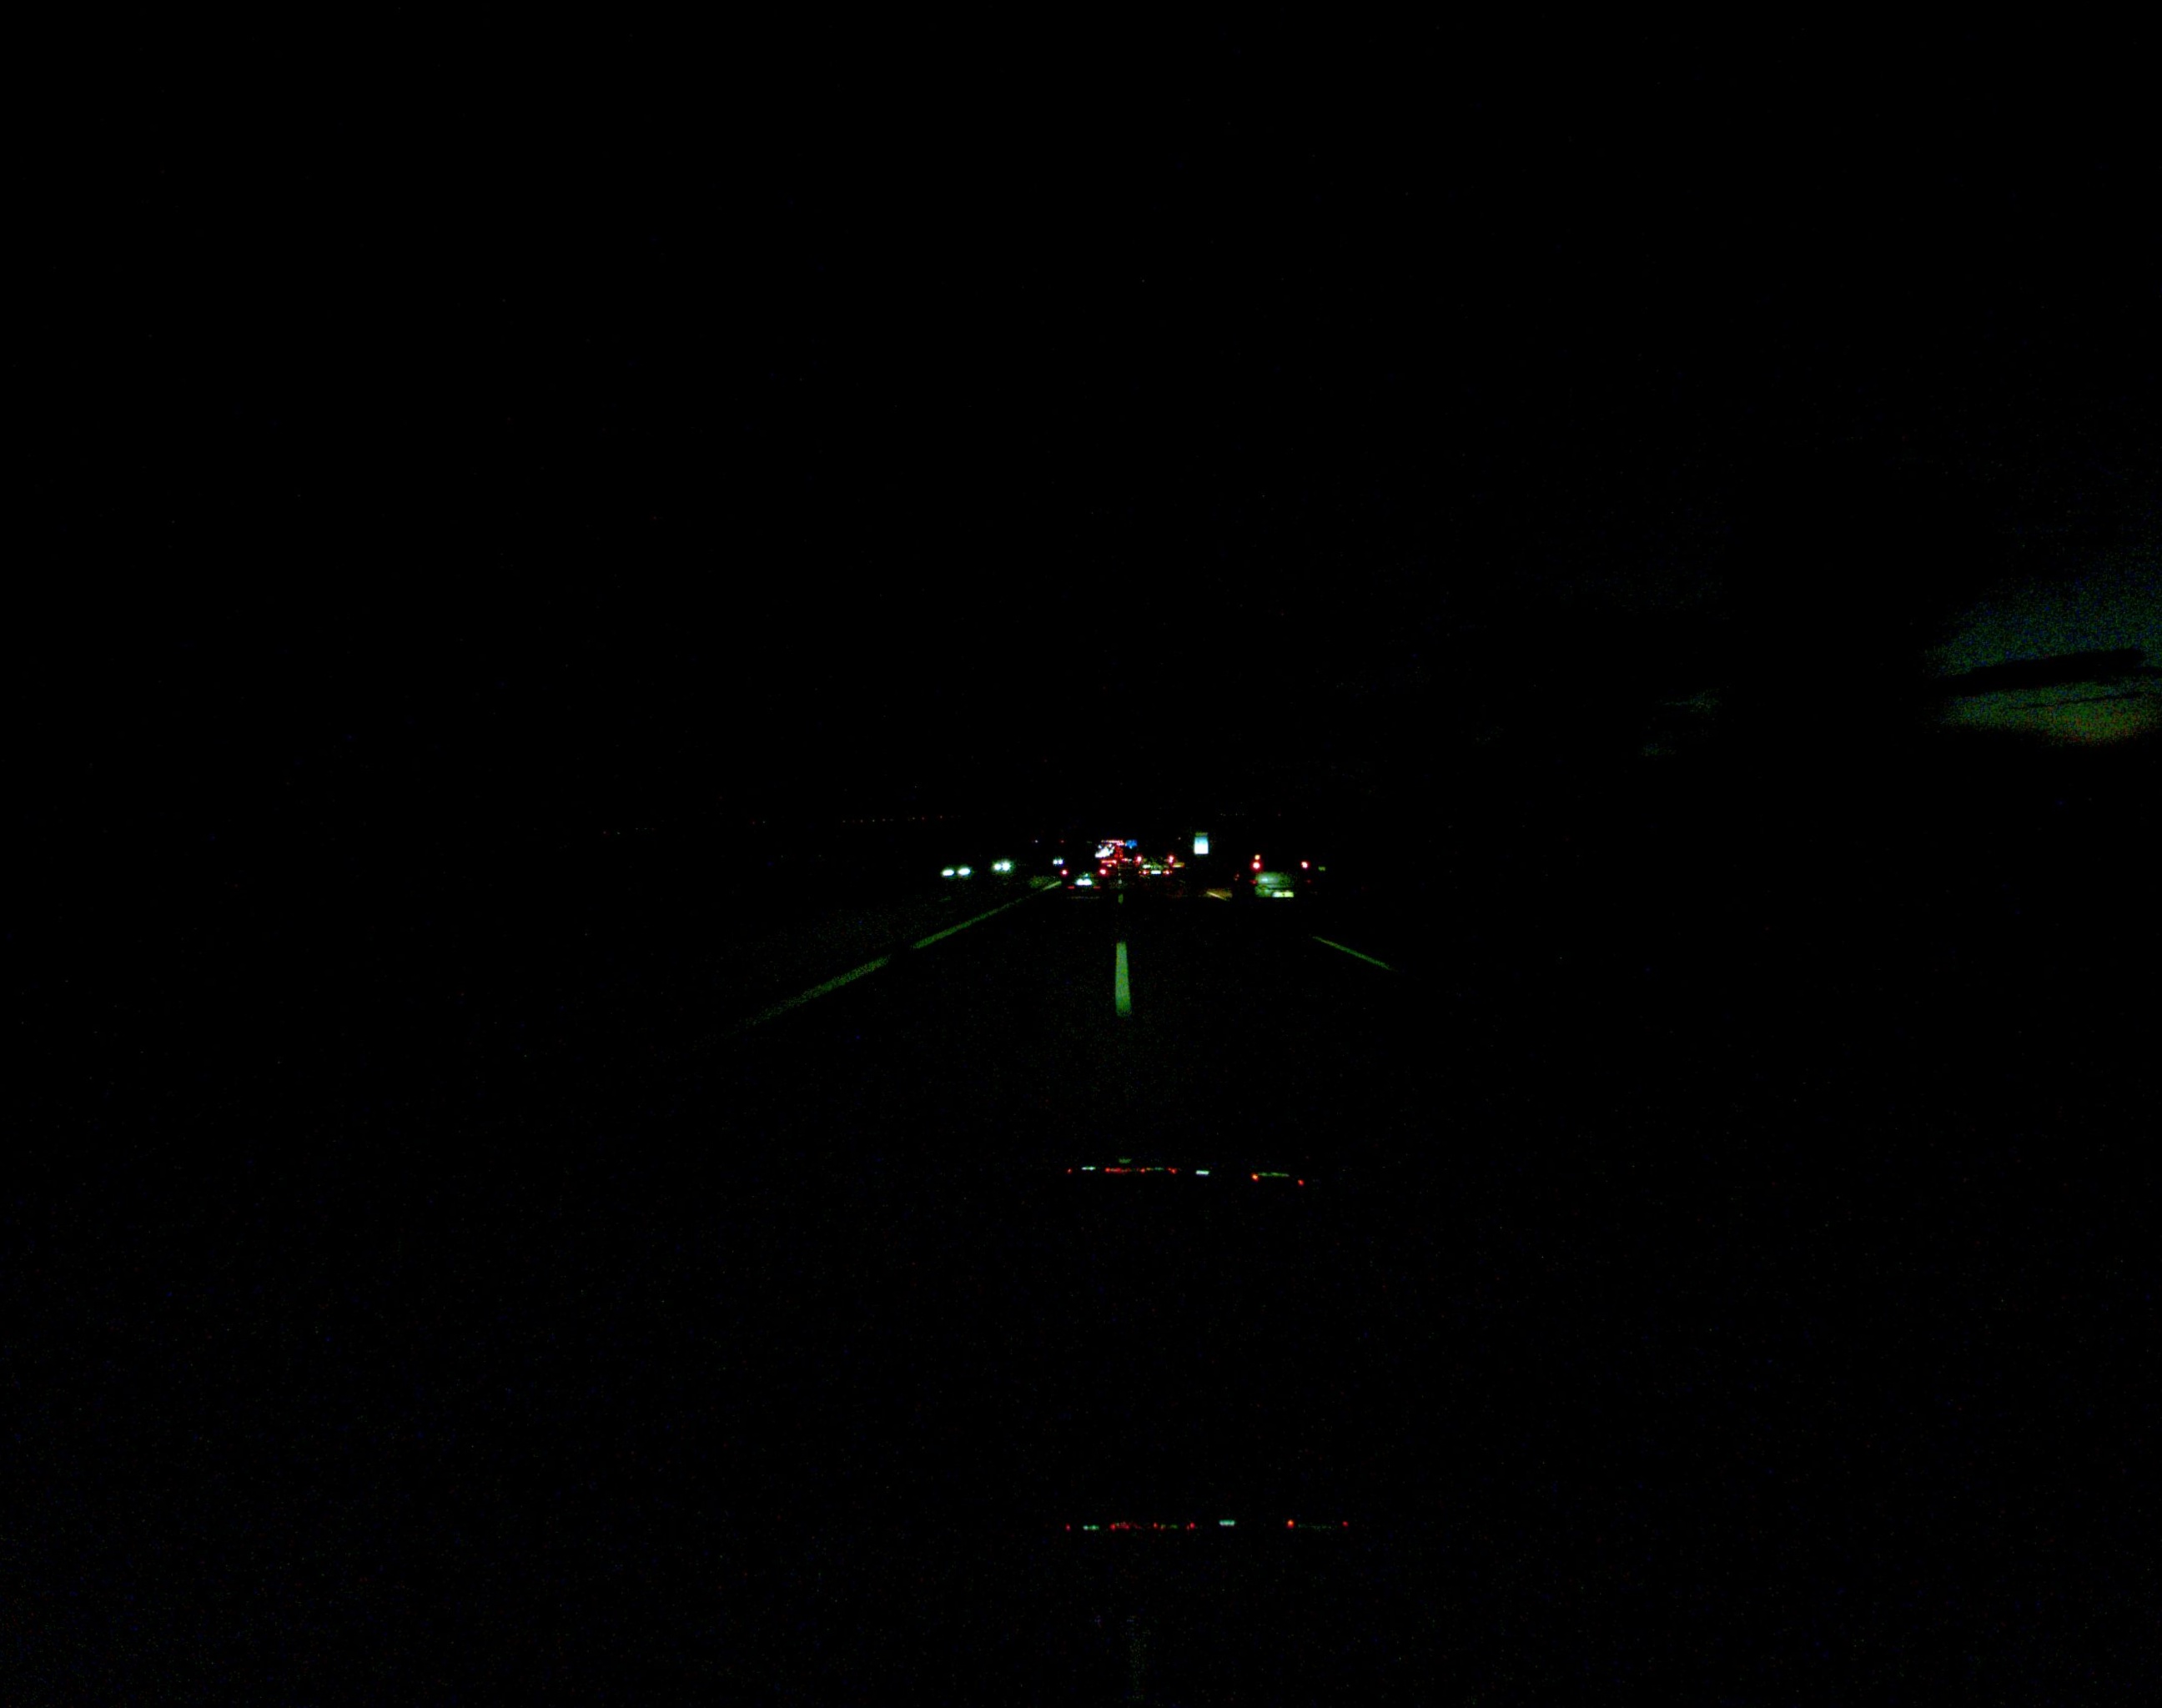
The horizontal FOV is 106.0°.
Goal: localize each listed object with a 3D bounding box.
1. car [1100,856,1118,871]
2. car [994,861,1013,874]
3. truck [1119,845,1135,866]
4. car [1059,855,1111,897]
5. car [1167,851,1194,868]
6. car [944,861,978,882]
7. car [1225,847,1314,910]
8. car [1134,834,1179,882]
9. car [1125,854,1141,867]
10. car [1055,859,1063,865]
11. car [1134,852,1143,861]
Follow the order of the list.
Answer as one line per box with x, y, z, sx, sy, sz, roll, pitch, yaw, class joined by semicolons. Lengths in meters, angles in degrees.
2.930;0.989;85.163;1.737;1.440;4.371;-3;0;3;car
-11.910;2.038;124.931;2.036;1.720;4.778;-4;0;3;car
9.084;0.338;160.824;2.771;3.955;7.995;-2;0;1;truck
0.213;0.804;31.606;1.786;1.469;3.776;-1;0;3;car
9.361;0.491;77.191;2.154;1.563;4.726;-2;0;3;car
-10.637;1.498;72.348;1.895;1.643;5.302;-3;0;3;car
5.311;0.649;23.474;1.640;1.596;4.512;-1;0;2;car
4.369;0.200;48.203;2.342;2.535;5.705;-3;0;3;car
8.015;1.004;126.351;2.342;1.914;4.726;-3;0;3;car
-6.530;2.321;240.882;1.987;1.419;4.984;-4;0;1;car
14.931;0.687;212.009;2.342;2.076;4.726;-3;0;3;car
